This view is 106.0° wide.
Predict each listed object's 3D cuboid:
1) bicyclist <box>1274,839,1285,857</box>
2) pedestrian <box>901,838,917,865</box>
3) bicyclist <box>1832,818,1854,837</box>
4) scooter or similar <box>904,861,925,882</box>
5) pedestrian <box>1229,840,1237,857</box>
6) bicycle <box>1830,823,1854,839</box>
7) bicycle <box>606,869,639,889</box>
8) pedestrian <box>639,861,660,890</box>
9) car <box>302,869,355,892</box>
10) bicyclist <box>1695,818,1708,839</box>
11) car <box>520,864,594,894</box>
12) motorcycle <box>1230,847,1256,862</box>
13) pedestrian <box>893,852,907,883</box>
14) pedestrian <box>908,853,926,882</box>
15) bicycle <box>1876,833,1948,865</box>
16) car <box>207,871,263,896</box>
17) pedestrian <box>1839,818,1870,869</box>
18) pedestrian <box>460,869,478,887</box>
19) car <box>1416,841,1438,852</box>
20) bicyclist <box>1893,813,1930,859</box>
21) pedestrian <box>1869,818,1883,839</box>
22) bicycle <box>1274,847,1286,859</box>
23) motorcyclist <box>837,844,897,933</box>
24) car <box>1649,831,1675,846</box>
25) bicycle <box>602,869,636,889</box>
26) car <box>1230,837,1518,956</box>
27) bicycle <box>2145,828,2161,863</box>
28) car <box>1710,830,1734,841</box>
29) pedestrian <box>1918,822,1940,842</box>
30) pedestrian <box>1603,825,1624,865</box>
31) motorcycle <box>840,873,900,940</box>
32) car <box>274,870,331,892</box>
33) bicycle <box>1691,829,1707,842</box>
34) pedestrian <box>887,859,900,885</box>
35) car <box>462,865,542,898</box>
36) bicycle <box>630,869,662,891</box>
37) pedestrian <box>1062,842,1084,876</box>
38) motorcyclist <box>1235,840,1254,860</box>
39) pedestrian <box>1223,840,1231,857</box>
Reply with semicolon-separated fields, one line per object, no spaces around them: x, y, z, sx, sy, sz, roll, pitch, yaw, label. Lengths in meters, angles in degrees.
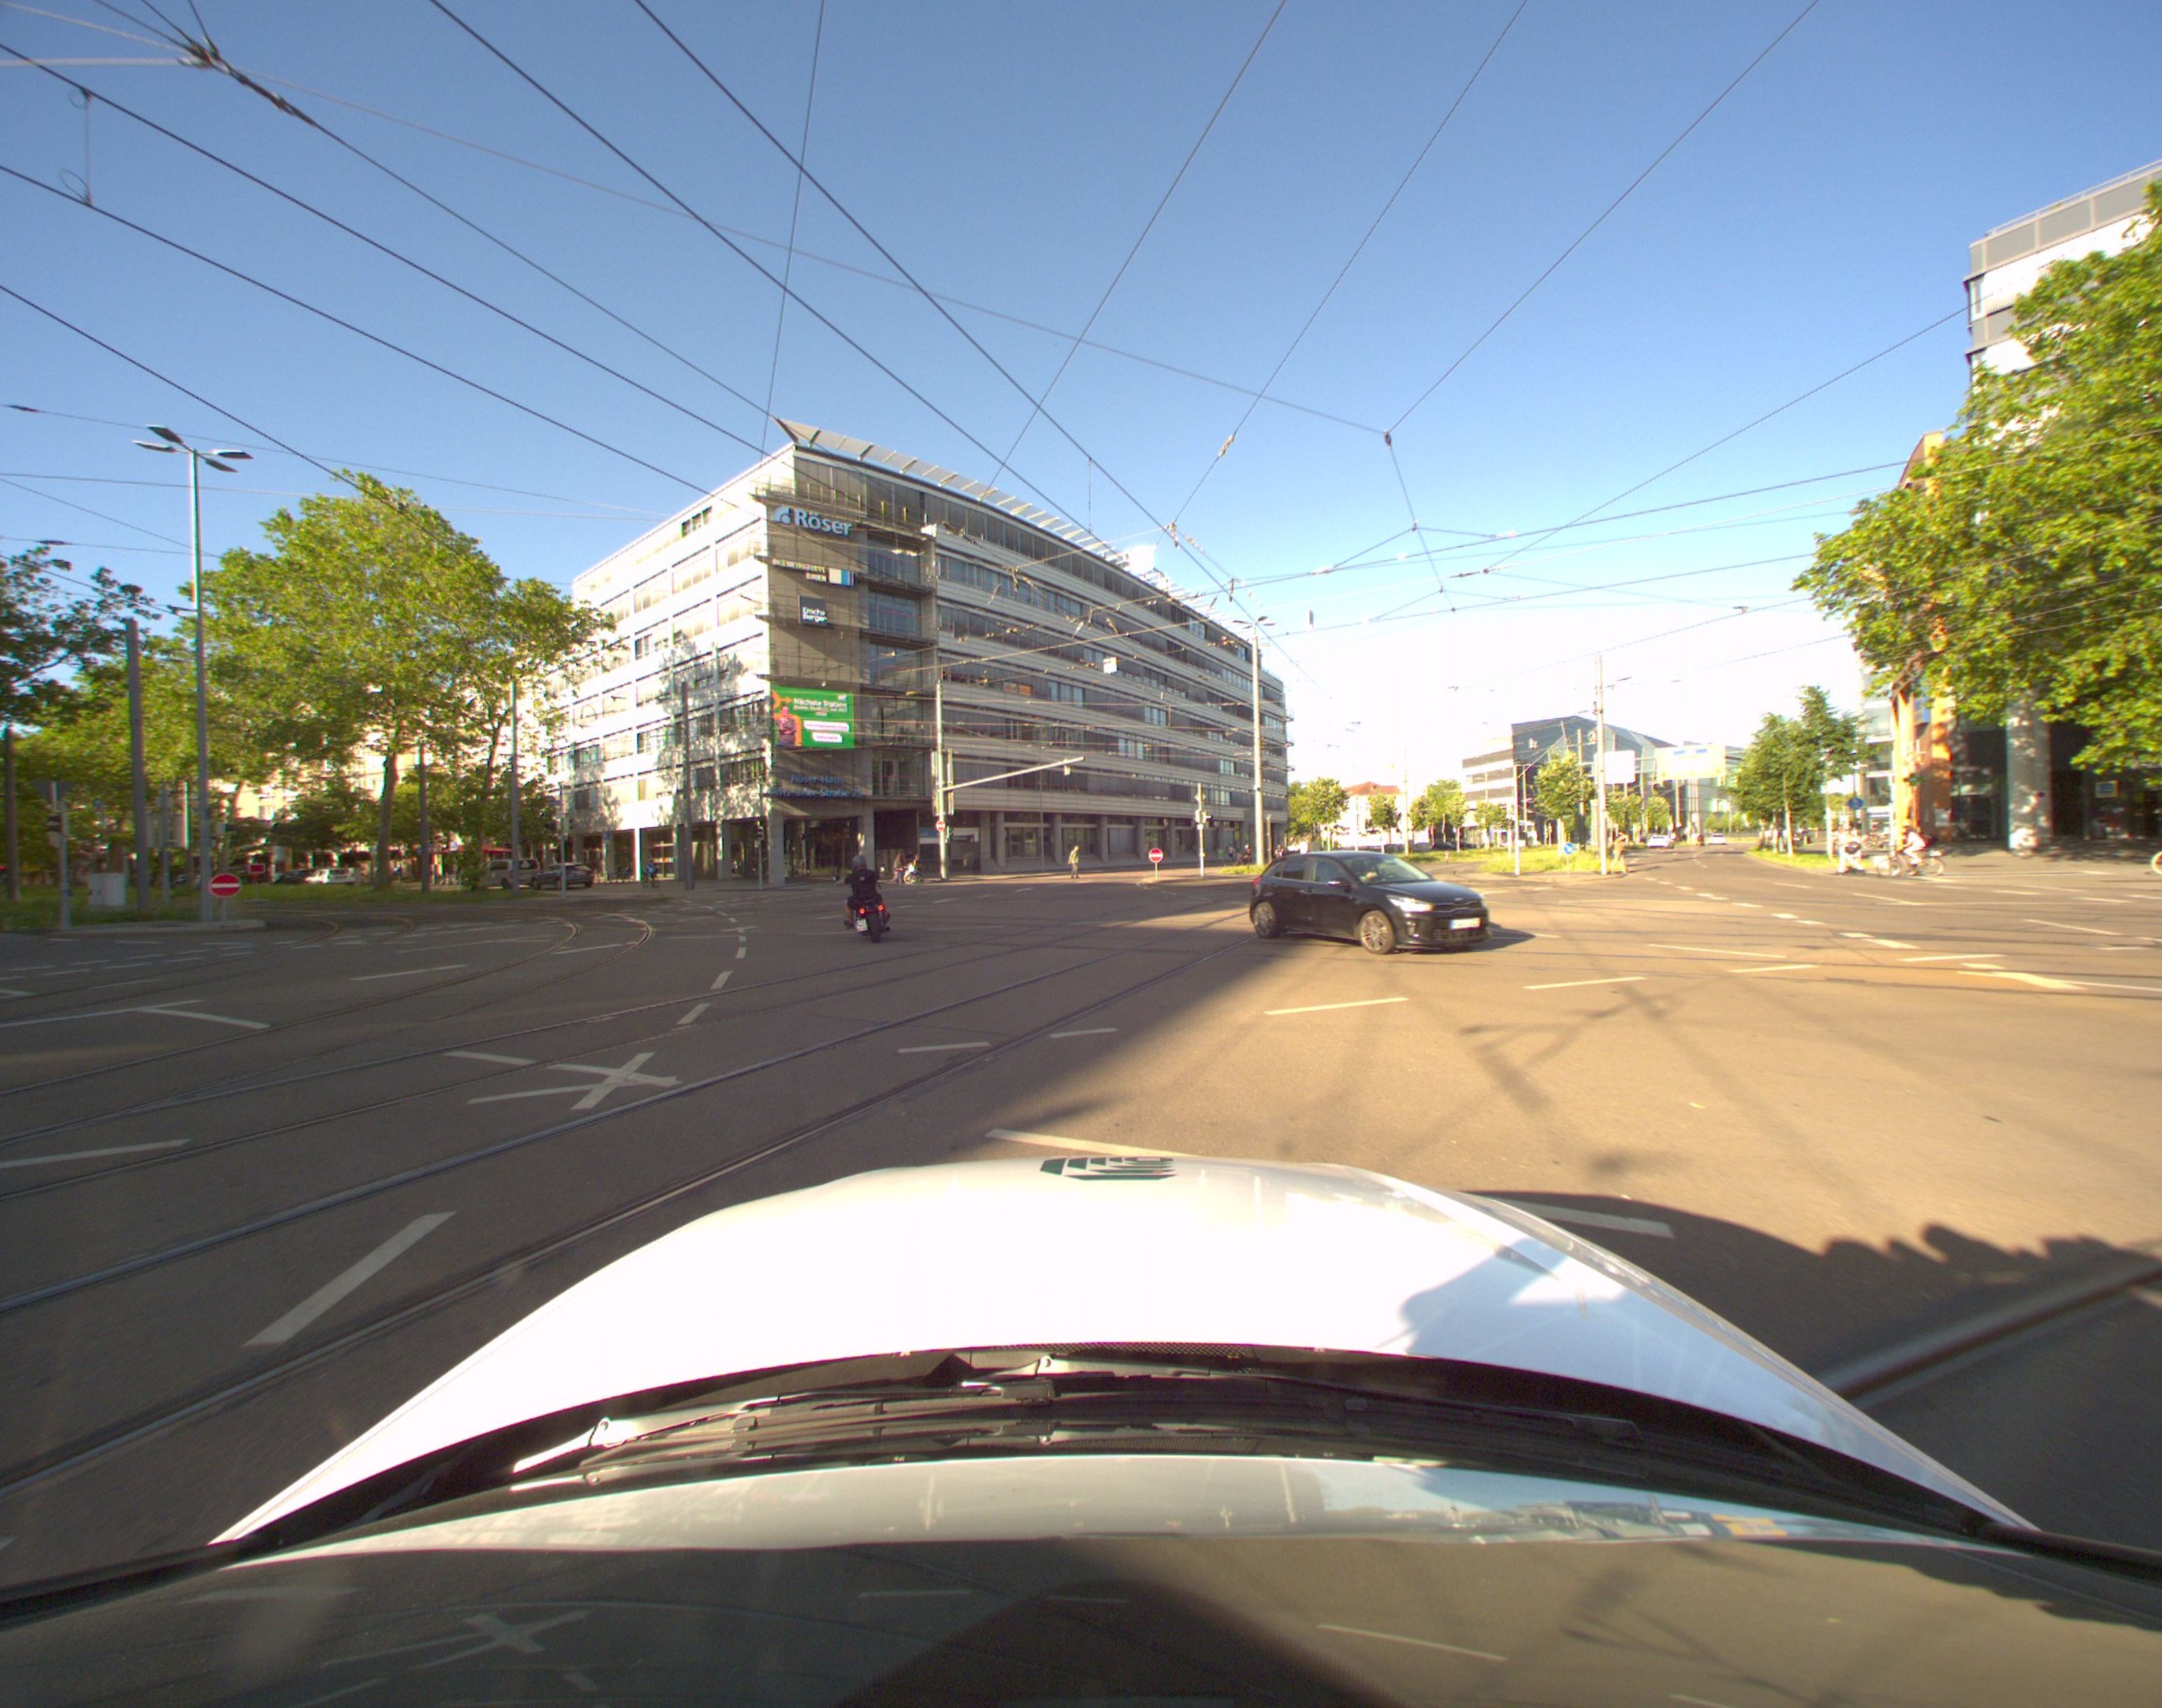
18.417;-0.578;75.541;0.756;1.667;1.000;-1;0;28;bicyclist
-10.835;-0.153;51.415;0.637;1.715;0.694;-1;0;40;pedestrian
55.829;-1.948;59.681;1.030;1.381;1.574;-1;0;38;bicyclist
-9.459;0.995;46.295;1.013;1.129;0.550;-1;0;-3;scooter or similar
15.280;-0.552;82.086;0.543;1.733;0.646;-2;0;32;pedestrian
55.883;-1.661;59.833;1.030;1.133;3.200;-1;0;38;bicycle
-29.633;1.614;52.675;0.464;1.151;1.851;-1;1;33;bicycle
-24.445;1.222;46.125;0.827;1.610;0.610;0;3;26;pedestrian
-56.879;1.986;61.529;3.818;1.638;1.877;-1;0;31;car
75.870;-3.117;99.570;1.480;2.624;1.007;-1;0;-43;bicyclist
-31.066;1.486;48.277;4.358;1.572;1.877;-1;2;31;car
13.972;0.060;70.010;0.974;1.232;2.962;-2;0;37;motorcycle
-10.293;0.753;46.233;0.635;1.708;0.581;-1;0;-3;pedestrian
-9.577;0.788;47.613;0.714;1.617;0.659;-2;-1;35;pedestrian
27.902;-0.144;27.381;1.611;1.021;0.520;-2;-1;36;bicycle
-72.223;2.475;69.505;4.359;1.976;2.049;-1;1;27;car
28.055;-0.387;29.535;0.516;1.837;0.696;0;0;-28;pedestrian
-53.459;2.059;71.127;0.981;1.546;0.878;-1;0;30;pedestrian
65.741;-1.440;154.702;1.993;2.013;3.987;-2;0;-9;car
27.904;-0.581;27.360;0.735;1.503;0.573;-2;-1;35;bicyclist
61.304;-1.982;62.807;0.699;1.569;0.627;-2;0;41;pedestrian
18.429;-0.104;75.531;0.636;1.107;1.695;-1;0;28;bicycle
-3.993;0.599;15.136;1.025;1.552;1.279;0;1;-17;motorcyclist
61.275;-1.626;85.893;1.883;1.508;4.025;0;0;40;car
-30.030;1.614;52.931;0.464;1.151;1.851;-1;1;33;bicycle
4.304;0.556;12.748;1.799;1.465;4.278;-2;0;-23;car
31.956;-0.263;23.230;1.834;1.021;0.520;-2;-1;38;bicycle
84.946;-2.483;107.873;4.062;1.376;1.997;-2;0;-45;car
46.360;-1.191;44.526;0.818;1.057;0.777;-2;0;-41;pedestrian
21.340;-0.374;32.663;0.651;1.582;0.492;-1;0;30;pedestrian
-3.989;0.926;15.265;1.008;1.125;2.310;-1;-1;-17;motorcycle
-61.588;2.130;64.422;4.034;1.629;2.006;-2;1;27;car
75.707;-2.243;99.738;3.594;1.579;1.007;-2;0;-43;bicycle
-10.398;0.990;45.171;0.635;1.402;0.546;-1;0;-3;pedestrian
-36.010;1.701;50.613;4.862;1.843;1.941;-2;2;27;car
-24.562;1.456;45.968;1.824;1.163;0.616;0;4;28;bicycle
-0.447;0.269;45.038;0.874;1.823;0.681;-3;-2;39;pedestrian
14.050;-0.337;70.136;1.009;1.731;1.470;-2;0;37;motorcyclist
14.786;-0.553;82.381;0.543;1.733;0.646;-2;0;32;pedestrian
